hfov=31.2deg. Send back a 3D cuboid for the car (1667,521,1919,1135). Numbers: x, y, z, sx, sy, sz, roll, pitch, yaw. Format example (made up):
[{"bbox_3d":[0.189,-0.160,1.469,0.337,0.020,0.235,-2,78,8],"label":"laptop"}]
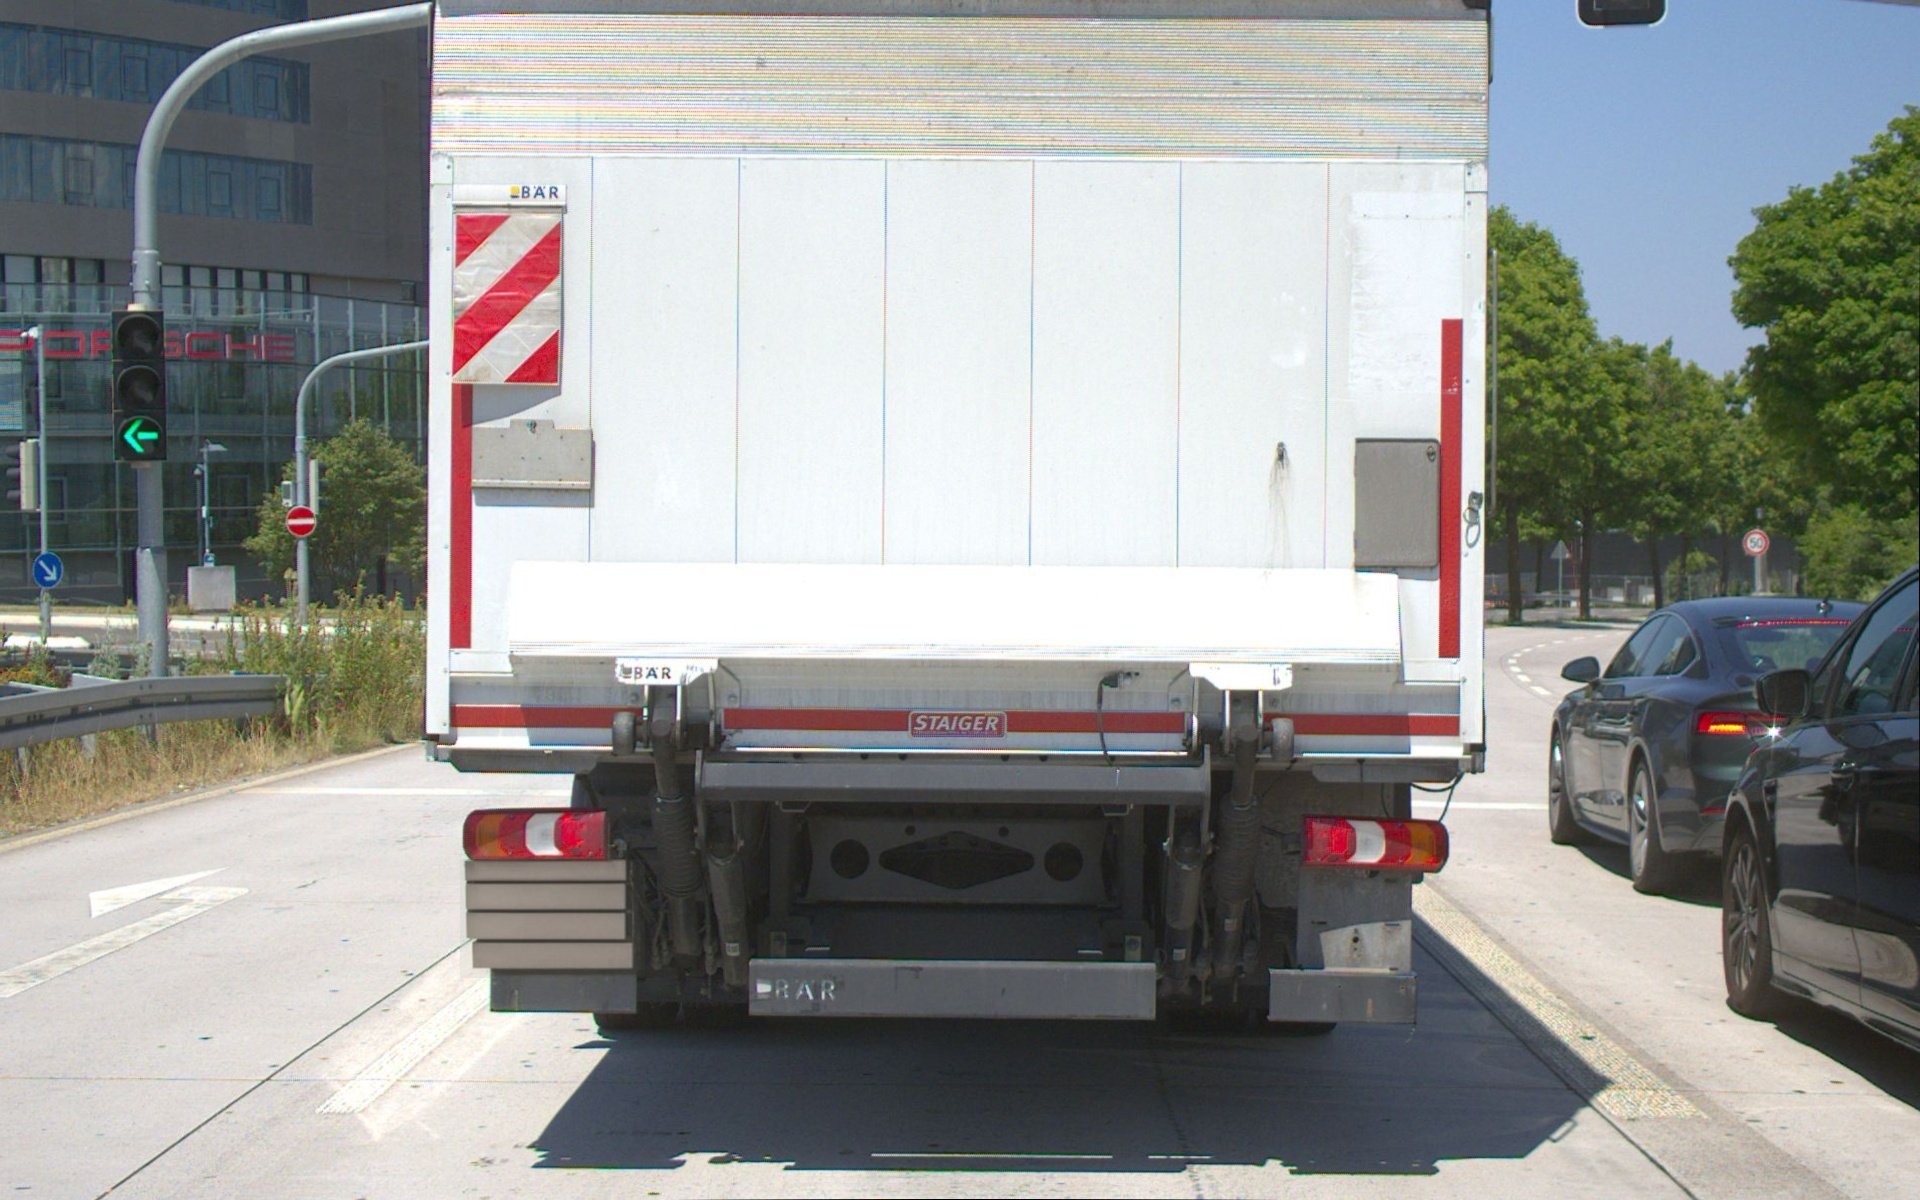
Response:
[{"bbox_3d":[3.455,0.615,10.040,1.783,1.634,4.647,1,0,0],"label":"car"}]

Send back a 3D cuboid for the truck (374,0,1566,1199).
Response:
[{"bbox_3d":[0.022,-0.513,12.688,2.769,3.846,9.370,0,0,0],"label":"truck"}]

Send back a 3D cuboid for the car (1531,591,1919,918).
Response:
[{"bbox_3d":[4.072,0.672,17.299,1.768,1.405,4.609,1,0,2],"label":"car"}]
